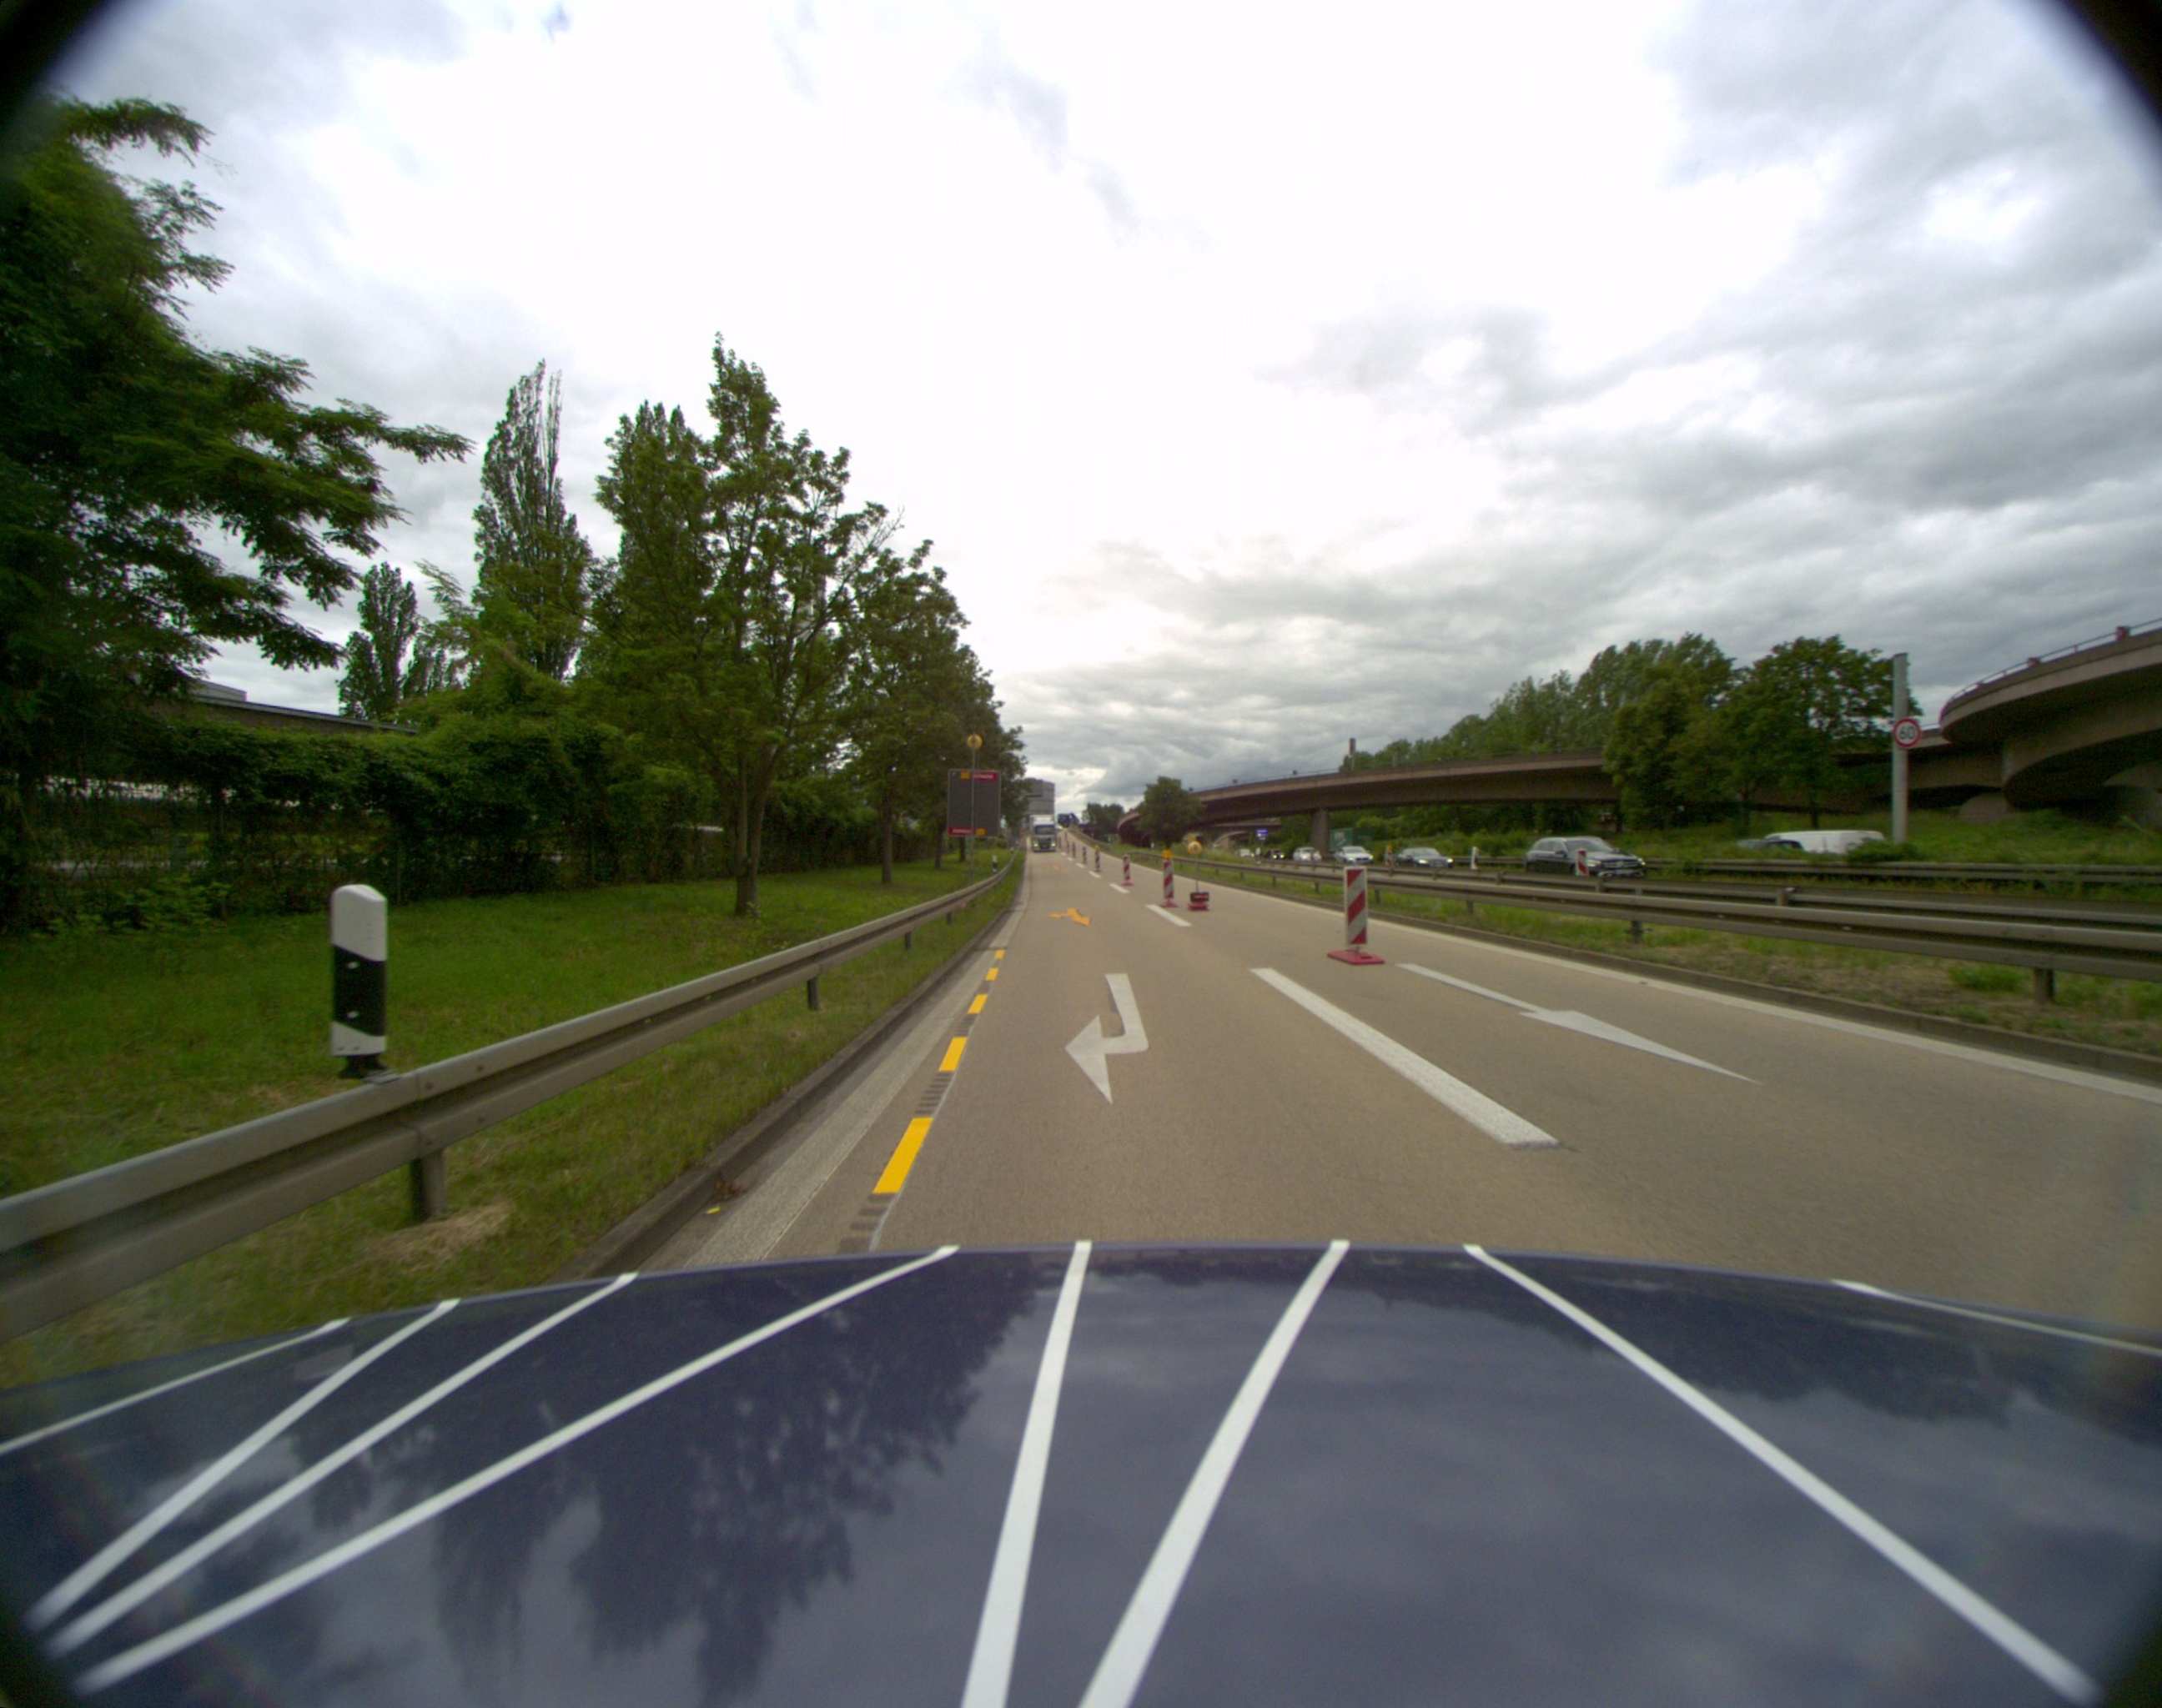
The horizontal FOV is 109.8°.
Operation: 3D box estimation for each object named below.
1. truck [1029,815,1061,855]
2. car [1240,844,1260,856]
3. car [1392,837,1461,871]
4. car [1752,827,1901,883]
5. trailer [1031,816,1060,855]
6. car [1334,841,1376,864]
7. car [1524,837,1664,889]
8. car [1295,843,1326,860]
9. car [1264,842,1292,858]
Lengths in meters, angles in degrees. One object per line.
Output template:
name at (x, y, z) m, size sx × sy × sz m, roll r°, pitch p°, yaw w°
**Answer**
truck at (-3.993, -2.029, 85.975) m, size 3.163 × 4.107 × 8.139 m, roll -3°, pitch 0°, yaw -2°
car at (22.232, -0.537, 99.890) m, size 1.998 × 1.585 × 4.293 m, roll 0°, pitch 1°, yaw 5°
car at (18.482, -0.024, 40.865) m, size 1.935 × 1.693 × 3.999 m, roll 0°, pitch 1°, yaw 1°
car at (28.523, 0.019, 29.276) m, size 1.998 × 1.991 × 4.001 m, roll 0°, pitch 1°, yaw 6°
trailer at (-4.321, -2.161, 94.202) m, size 3.165 × 4.299 × 13.260 m, roll -3°, pitch 0°, yaw -2°
car at (19.155, -0.152, 53.300) m, size 1.801 × 1.503 × 4.000 m, roll 0°, pitch 2°, yaw 5°
car at (16.875, 0.240, 25.284) m, size 1.979 × 1.502 × 4.293 m, roll -2°, pitch 1°, yaw 4°
car at (21.157, -0.249, 70.246) m, size 1.998 × 1.585 × 4.001 m, roll 0°, pitch 1°, yaw 5°
car at (19.907, -0.396, 76.900) m, size 1.998 × 1.585 × 4.293 m, roll 0°, pitch 1°, yaw 5°
